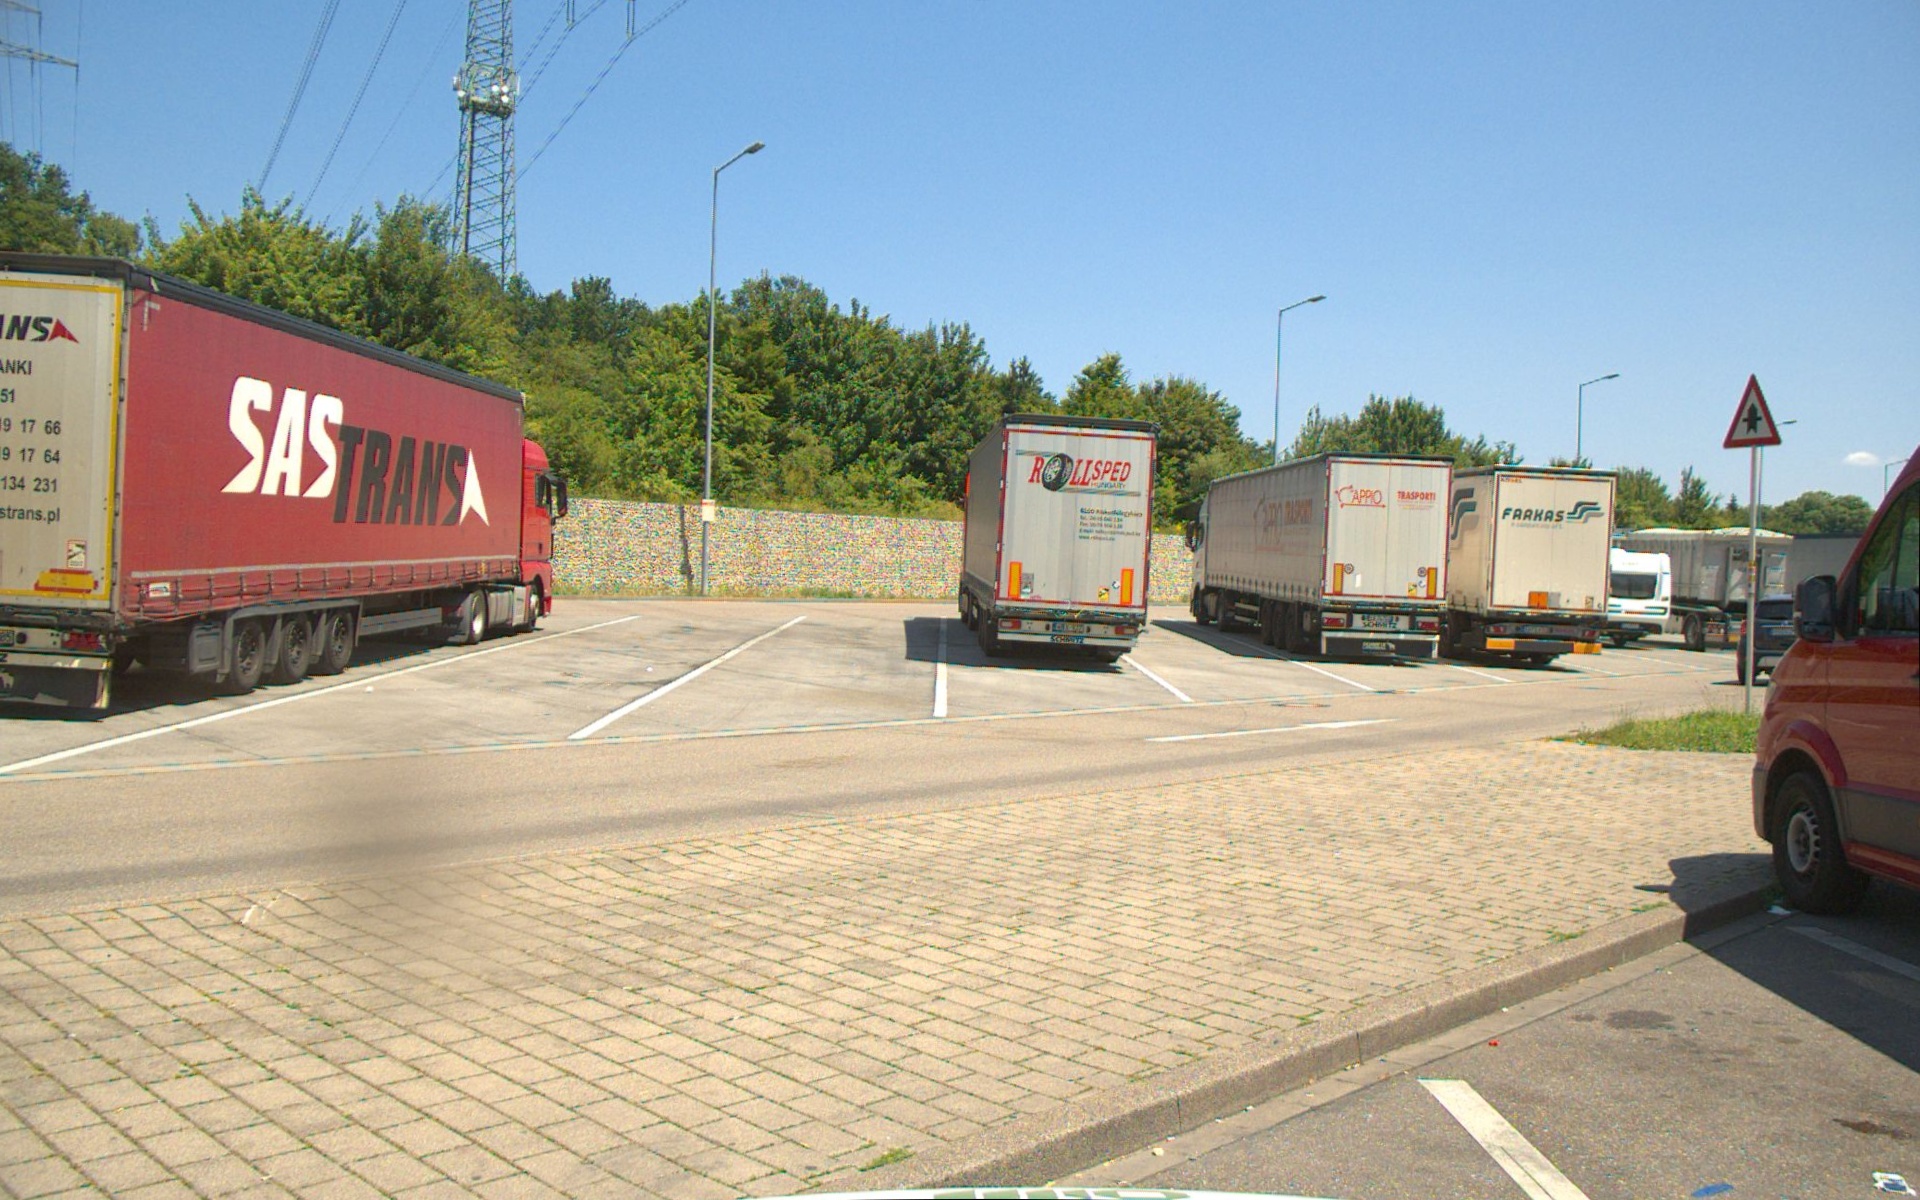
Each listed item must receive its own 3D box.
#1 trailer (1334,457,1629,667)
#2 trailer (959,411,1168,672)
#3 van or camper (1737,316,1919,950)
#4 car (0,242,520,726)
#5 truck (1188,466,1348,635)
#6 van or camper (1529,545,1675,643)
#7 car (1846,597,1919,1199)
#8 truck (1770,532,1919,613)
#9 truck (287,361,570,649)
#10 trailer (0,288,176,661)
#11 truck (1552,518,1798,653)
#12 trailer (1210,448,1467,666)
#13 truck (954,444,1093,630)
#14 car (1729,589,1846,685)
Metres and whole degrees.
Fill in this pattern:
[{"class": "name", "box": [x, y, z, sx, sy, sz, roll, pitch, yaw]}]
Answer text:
[{"class": "trailer", "box": [11.821, -1.020, 39.237, 2.808, 4.107, 12.438, 2, 2, -1]}, {"class": "trailer", "box": [1.653, -1.237, 33.683, 2.809, 4.107, 14.238, 2, 2, -2]}, {"class": "van or camper", "box": [4.992, 0.176, 5.574, 1.954, 2.700, 6.482, 1, 1, 3]}, {"class": "car", "box": [-8.676, -1.278, 20.973, 2.641, 4.184, 12.935, 2, 2, 0]}, {"class": "truck", "box": [8.164, -1.382, 44.750, 2.808, 4.107, 6.956, 2, 2, -1]}, {"class": "van or camper", "box": [18.265, -0.218, 47.363, 2.061, 2.606, 5.372, 1, 1, 0]}, {"class": "car", "box": [2.543, 0.798, 1.126, 1.584, 1.509, 3.762, 1, 1, -6]}, {"class": "truck", "box": [34.697, -1.063, 63.654, 2.082, 2.869, 9.777, 1, 1, -1]}, {"class": "truck", "box": [-8.698, -1.527, 27.890, 2.641, 4.184, 6.239, 2, 2, 0]}, {"class": "trailer", "box": [-12.546, -1.403, 17.173, 2.756, 4.341, 12.940, 2, 2, -1]}, {"class": "truck", "box": [21.745, -0.645, 51.260, 2.437, 3.630, 11.423, 2, 2, -1]}, {"class": "trailer", "box": [8.244, -1.086, 38.119, 2.808, 4.107, 12.438, 2, 2, -1]}, {"class": "truck", "box": [1.422, -1.563, 40.764, 2.809, 4.107, 7.026, 2, 2, -2]}, {"class": "car", "box": [15.365, 0.626, 30.734, 1.806, 1.589, 3.945, 1, 1, 27]}]
